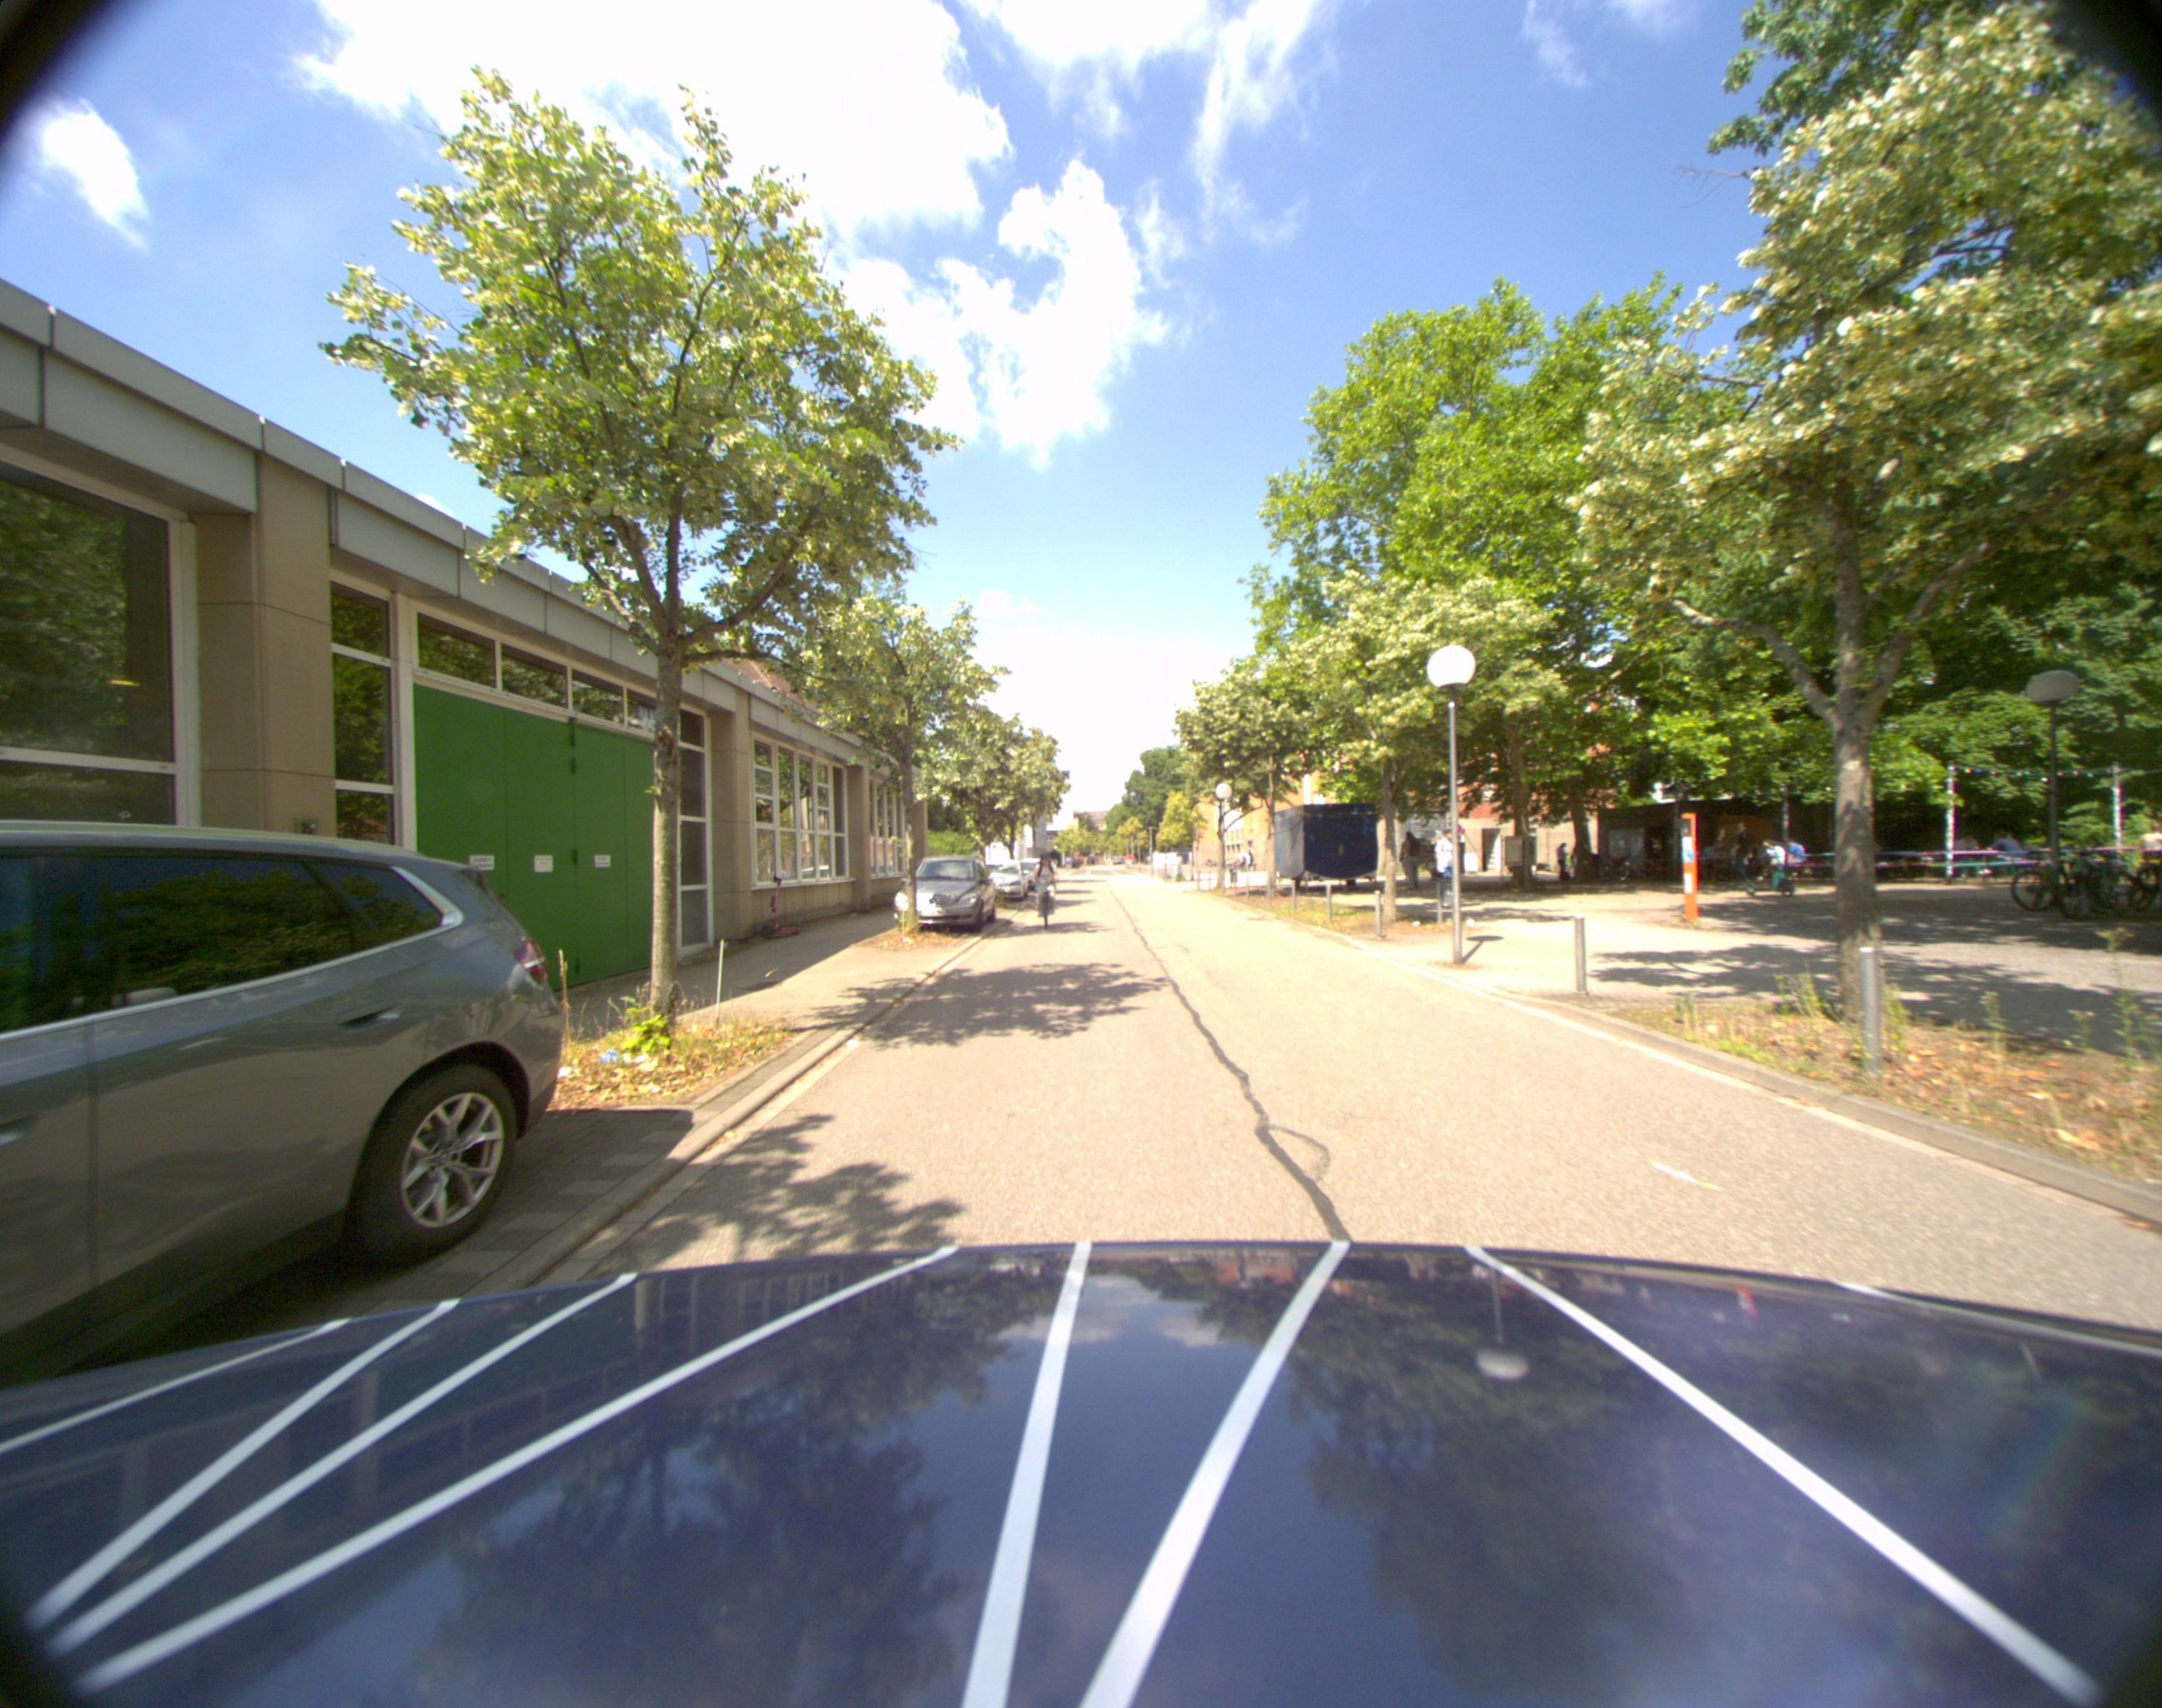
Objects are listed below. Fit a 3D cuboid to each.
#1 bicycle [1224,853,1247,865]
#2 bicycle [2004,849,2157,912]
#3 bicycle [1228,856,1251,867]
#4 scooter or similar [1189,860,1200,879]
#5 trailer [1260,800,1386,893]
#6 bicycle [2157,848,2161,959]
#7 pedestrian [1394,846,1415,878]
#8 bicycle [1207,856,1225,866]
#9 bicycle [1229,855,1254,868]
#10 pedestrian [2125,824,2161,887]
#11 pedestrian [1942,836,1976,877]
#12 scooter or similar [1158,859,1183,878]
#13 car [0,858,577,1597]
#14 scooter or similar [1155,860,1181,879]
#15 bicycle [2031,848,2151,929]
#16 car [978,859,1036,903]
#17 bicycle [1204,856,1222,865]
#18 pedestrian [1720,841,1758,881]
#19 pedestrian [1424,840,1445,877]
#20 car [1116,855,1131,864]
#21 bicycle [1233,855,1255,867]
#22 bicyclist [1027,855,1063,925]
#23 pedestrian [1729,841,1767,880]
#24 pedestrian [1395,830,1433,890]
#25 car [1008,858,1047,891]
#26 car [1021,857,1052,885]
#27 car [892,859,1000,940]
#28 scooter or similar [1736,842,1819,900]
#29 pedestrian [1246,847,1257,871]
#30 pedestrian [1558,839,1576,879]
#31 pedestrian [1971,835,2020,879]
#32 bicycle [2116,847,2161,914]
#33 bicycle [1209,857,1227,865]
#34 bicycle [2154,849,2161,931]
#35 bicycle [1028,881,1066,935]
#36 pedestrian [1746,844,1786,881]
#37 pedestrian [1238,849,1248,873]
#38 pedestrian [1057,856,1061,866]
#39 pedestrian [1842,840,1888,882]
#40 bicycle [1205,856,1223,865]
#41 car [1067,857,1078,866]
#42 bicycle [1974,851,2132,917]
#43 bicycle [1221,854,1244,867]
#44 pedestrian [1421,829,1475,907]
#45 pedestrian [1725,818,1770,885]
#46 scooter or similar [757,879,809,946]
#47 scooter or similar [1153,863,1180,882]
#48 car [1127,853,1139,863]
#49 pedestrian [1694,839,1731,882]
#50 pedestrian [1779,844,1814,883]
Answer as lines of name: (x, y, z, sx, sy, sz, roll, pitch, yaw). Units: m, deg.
bicycle: (14.350, 0.469, 70.738, 2.026, 1.119, 0.592, -1, 0, 2)
bicycle: (17.139, 0.449, 13.054, 1.806, 1.008, 0.537, -2, 0, 3)
bicycle: (15.581, 0.736, 74.698, 2.027, 1.055, 0.663, -1, 0, 0)
scooter or similar: (7.218, 0.959, 48.196, 0.564, 1.142, 1.351, -1, 1, 13)
trailer: (8.840, -0.237, 28.562, 2.703, 3.009, 6.266, -2, 0, 1)
bicycle: (11.818, 0.469, 7.725, 1.780, 1.125, 0.458, -2, 1, -17)
pedestrian: (15.290, 0.371, 35.898, 0.744, 1.500, 0.499, -2, 1, 2)
bicycle: (15.524, 0.799, 87.105, 1.955, 1.024, 0.530, -1, 0, 0)
bicycle: (14.528, 0.641, 68.771, 2.027, 1.119, 0.667, -1, 0, 0)
pedestrian: (24.799, 0.031, 17.641, 0.507, 1.414, 0.460, -2, 0, -9)
pedestrian: (24.791, 0.060, 21.461, 0.336, 1.133, 0.506, -2, 0, -10)
scooter or similar: (6.015, 0.988, 50.996, 1.571, 1.218, 0.571, -1, 1, 28)
car: (-3.375, 0.883, 1.388, 1.827, 1.654, 4.583, -2, 0, -1)
scooter or similar: (5.727, 0.995, 50.143, 1.571, 1.218, 0.566, -1, 1, 28)
bicycle: (15.082, 0.491, 11.346, 1.863, 1.083, 0.546, -2, 0, -20)
car: (-2.666, 0.945, 28.168, 1.730, 1.458, 4.671, 0, 0, -1)
bicycle: (15.689, 0.740, 90.374, 1.955, 1.024, 0.542, -1, 0, 0)
pedestrian: (21.018, 0.231, 24.270, 0.596, 1.226, 0.741, -2, -1, -33)
pedestrian: (16.055, 0.191, 34.533, 0.632, 1.656, 0.643, -2, 1, 2)
car: (9.589, 1.195, 171.719, 2.022, 2.079, 4.440, -2, -1, 22)
bicycle: (15.647, 0.656, 72.877, 2.015, 1.076, 0.622, -1, 0, 0)
bicyclist: (-0.792, 0.791, 17.045, 0.675, 1.470, 1.062, -1, 2, 3)
pedestrian: (21.567, 0.210, 24.571, 0.596, 1.226, 0.741, -2, -1, -33)
pedestrian: (11.138, 0.200, 25.441, 0.919, 1.943, 0.893, -3, 1, 11)
car: (-2.531, 0.956, 36.681, 1.651, 1.382, 3.987, -2, 1, -1)
car: (-2.496, 0.918, 43.097, 1.591, 1.458, 3.988, -1, 1, -1)
car: (-2.857, 0.904, 16.943, 1.708, 1.565, 4.140, 0, 0, -1)
scooter or similar: (15.693, 0.378, 17.151, 0.700, 1.239, 1.241, -2, 0, 1)
pedestrian: (12.789, 0.397, 57.026, 0.577, 1.769, 0.917, -2, 1, 0)
pedestrian: (21.165, 0.224, 33.088, 0.531, 1.700, 0.447, -3, 0, -43)
pedestrian: (24.998, 0.085, 20.780, 0.392, 1.187, 0.730, -2, 0, -8)
bicycle: (17.296, 0.381, 11.847, 1.967, 0.997, 0.537, -2, 0, -10)
bicycle: (15.437, 0.798, 85.583, 1.955, 0.935, 0.569, -1, 0, 0)
bicycle: (15.356, 0.447, 10.248, 1.863, 1.083, 0.546, -2, 0, -20)
bicycle: (-0.744, 1.177, 17.203, 0.675, 1.066, 2.136, -1, 0, 2)
pedestrian: (24.450, 0.304, 27.131, 0.689, 1.315, 0.778, -1, 0, 2)
pedestrian: (12.177, 0.499, 57.058, 0.564, 1.752, 0.805, -1, 1, 0)
pedestrian: (-3.197, 0.980, 108.887, 0.525, 1.430, 0.701, -1, 0, 4)
pedestrian: (23.784, 0.215, 23.049, 0.570, 1.243, 0.766, -2, 0, -11)
bicycle: (15.684, 0.745, 89.665, 1.955, 1.024, 0.518, -1, 0, 0)
car: (-1.303, 1.178, 116.411, 1.552, 1.377, 3.453, -1, 0, -1)
bicycle: (16.026, 0.486, 12.556, 1.807, 1.008, 0.537, -2, 0, 3)
bicycle: (14.295, 0.646, 71.613, 2.026, 1.119, 0.439, -3, 0, 5)
pedestrian: (8.932, 0.340, 18.532, 0.801, 1.820, 0.987, -2, 0, 1)
pedestrian: (18.670, -0.066, 21.300, 0.531, 1.837, 0.806, -2, 0, 1)
scooter or similar: (-5.893, 1.126, 15.103, 0.417, 1.210, 1.493, 0, 0, 1)
scooter or similar: (5.553, 1.206, 49.383, 1.571, 1.218, 0.525, -1, 1, 28)
car: (9.969, 0.807, 145.460, 1.912, 1.870, 4.003, -2, -1, 8)
pedestrian: (20.898, 0.222, 25.139, 0.596, 1.361, 0.741, -2, -1, -33)
pedestrian: (24.605, 0.337, 26.128, 0.646, 1.315, 0.559, -1, 0, 2)
